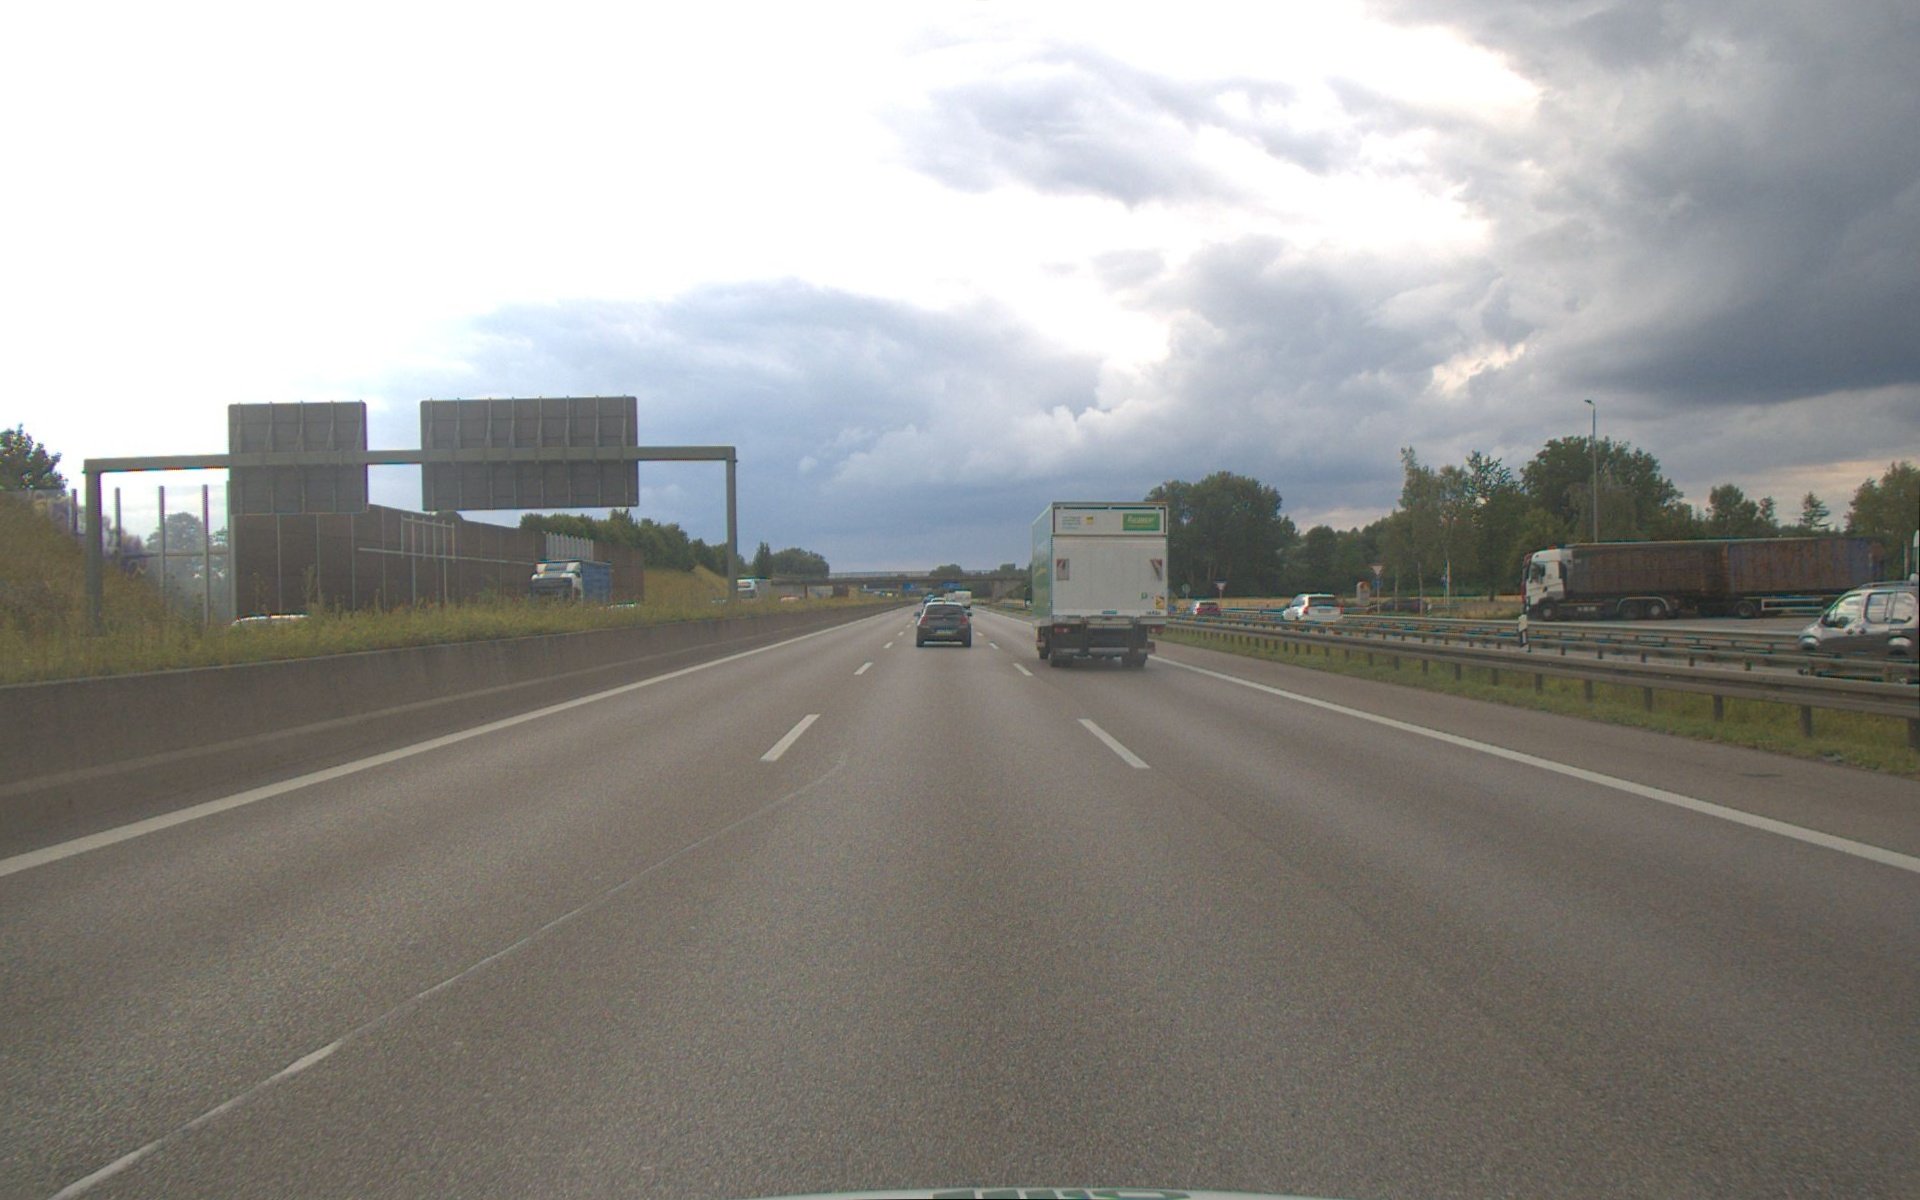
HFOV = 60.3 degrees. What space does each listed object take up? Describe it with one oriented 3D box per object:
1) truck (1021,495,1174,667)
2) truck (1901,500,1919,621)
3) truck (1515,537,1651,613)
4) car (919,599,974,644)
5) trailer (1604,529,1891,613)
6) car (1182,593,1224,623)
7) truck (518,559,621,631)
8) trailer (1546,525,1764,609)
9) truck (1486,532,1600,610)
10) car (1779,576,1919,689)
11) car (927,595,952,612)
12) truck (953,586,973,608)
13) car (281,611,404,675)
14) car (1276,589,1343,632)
[{"bbox_3d":[3.039,-0.404,39.108,2.714,3.566,9.060,0,0,-1],"label":"truck"},{"bbox_3d":[35.394,-1.352,57.098,2.592,4.207,4.464,1,-1,-42],"label":"truck"},{"bbox_3d":[33.618,-1.305,89.382,2.736,3.917,6.289,-1,0,-44],"label":"truck"},{"bbox_3d":[-0.453,0.667,53.496,1.708,1.413,3.999,0,0,-1],"label":"car"},{"bbox_3d":[39.333,-1.354,83.310,2.726,3.908,12.998,-1,0,-43],"label":"trailer"},{"bbox_3d":[14.973,0.496,102.219,1.791,1.787,5.064,-1,0,-1],"label":"car"},{"bbox_3d":[-21.144,-0.261,90.181,3.193,3.666,10.932,-1,0,-1],"label":"truck"},{"bbox_3d":[37.798,-1.672,90.391,2.578,4.299,10.930,1,-1,-44],"label":"trailer"},{"bbox_3d":[33.439,-1.643,94.951,2.573,4.328,5.600,1,-1,-44],"label":"truck"},{"bbox_3d":[16.051,0.498,28.232,1.791,1.787,4.593,-1,0,-1],"label":"car"},{"bbox_3d":[-1.710,0.308,134.369,1.953,1.321,3.999,-1,0,-2],"label":"car"},{"bbox_3d":[0.368,-0.372,237.206,2.655,3.016,12.443,1,0,-1],"label":"truck"},{"bbox_3d":[-12.730,0.863,34.226,1.457,1.228,2.924,-1,0,-1],"label":"car"},{"bbox_3d":[15.266,0.442,72.534,1.791,1.787,5.064,-1,0,-1],"label":"car"}]
